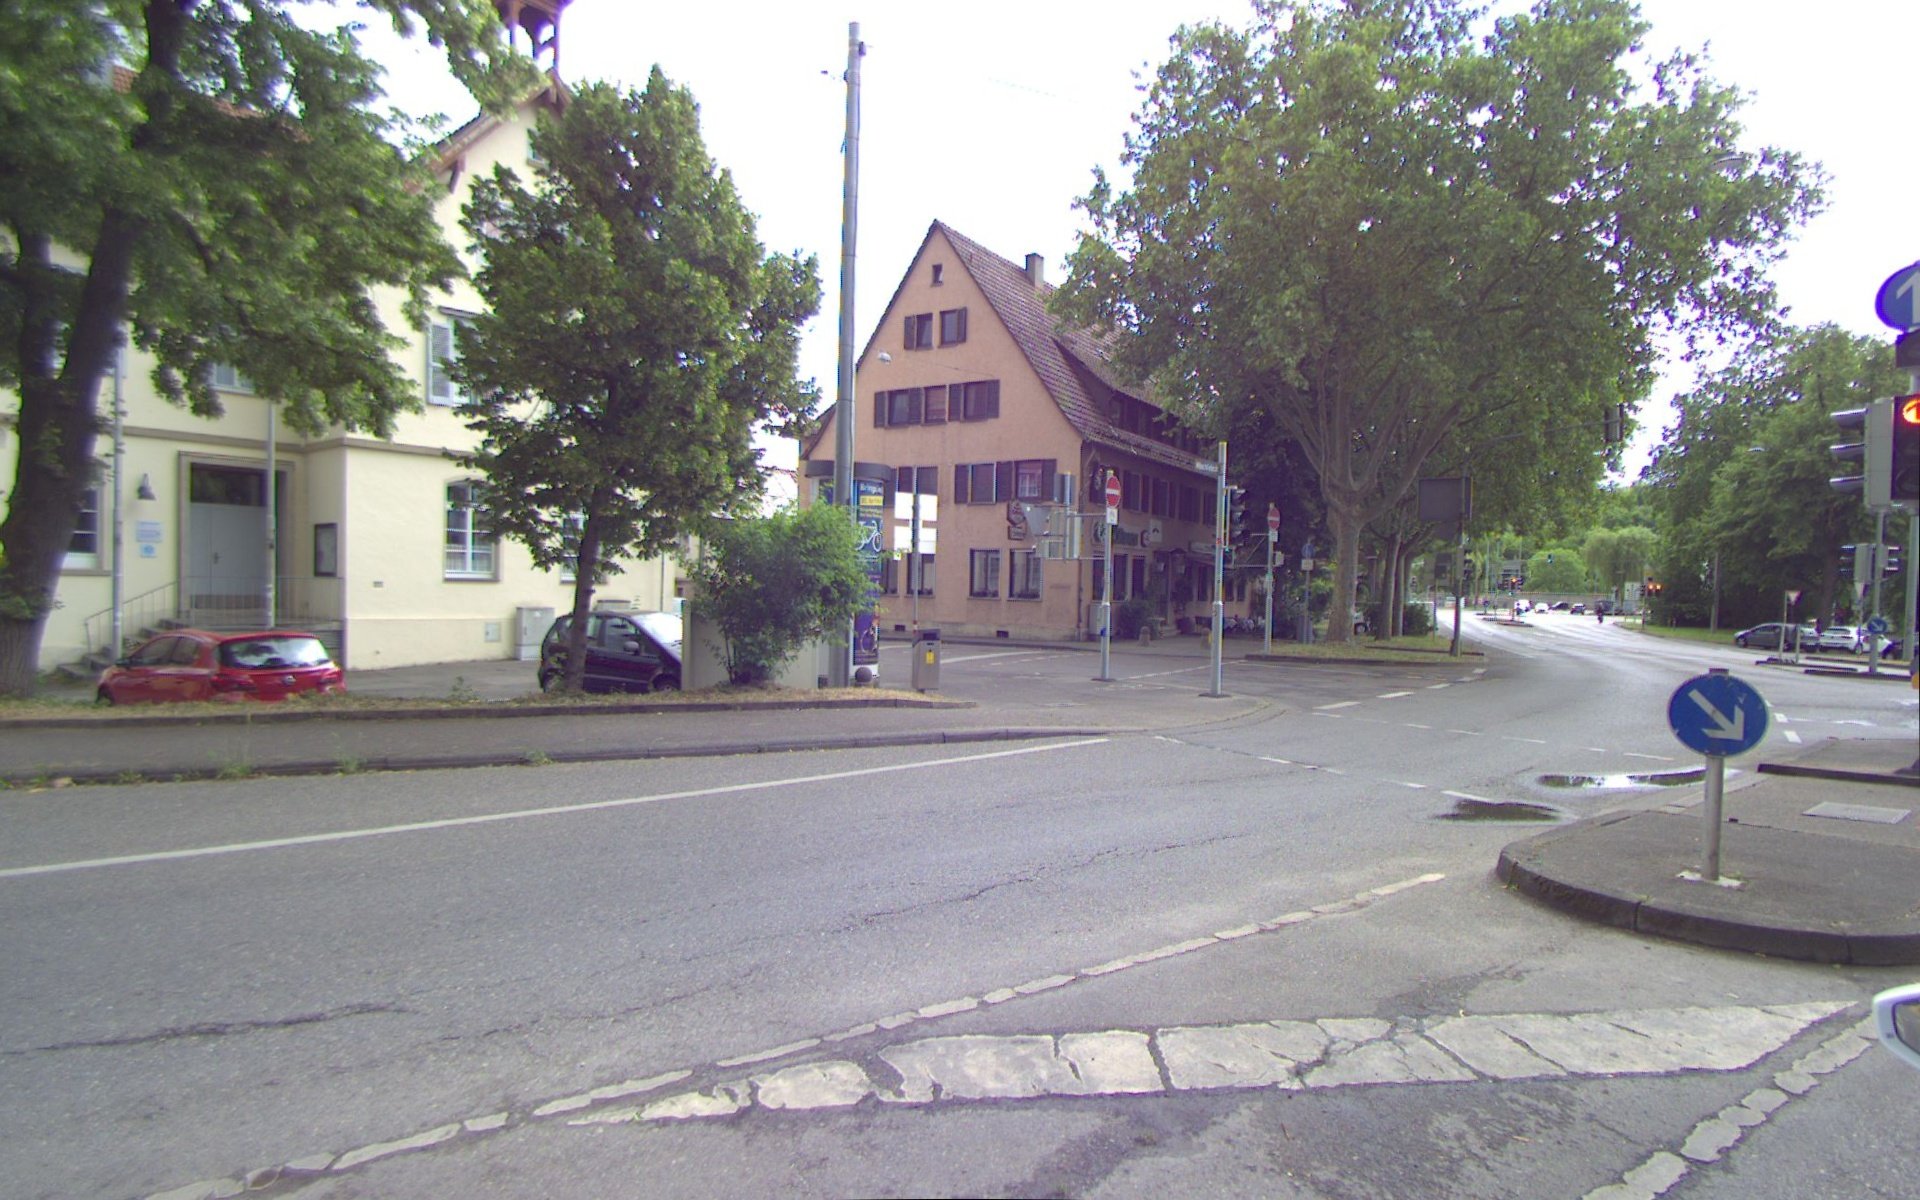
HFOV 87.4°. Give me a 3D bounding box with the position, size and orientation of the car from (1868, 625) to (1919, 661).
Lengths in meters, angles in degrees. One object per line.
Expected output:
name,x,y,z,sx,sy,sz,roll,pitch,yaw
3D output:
car,39.632,1.782,41.160,1.746,1.370,3.326,2,0,-3

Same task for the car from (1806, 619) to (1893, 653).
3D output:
car,47.594,1.937,53.756,3.696,1.662,1.859,2,0,-19

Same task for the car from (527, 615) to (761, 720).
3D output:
car,-5.244,1.040,16.637,3.507,1.459,1.644,2,0,26

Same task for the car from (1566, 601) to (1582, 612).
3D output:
car,99.470,1.042,162.763,1.963,1.617,3.994,2,0,28

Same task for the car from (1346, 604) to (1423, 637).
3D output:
car,24.114,1.158,57.032,3.924,1.706,1.998,1,0,25

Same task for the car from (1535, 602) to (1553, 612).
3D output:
car,90.434,1.148,155.649,1.469,1.436,3.028,3,0,11

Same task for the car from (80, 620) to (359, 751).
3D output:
car,-9.971,1.045,13.490,3.653,1.401,1.659,2,0,29

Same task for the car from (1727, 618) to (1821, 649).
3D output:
car,43.948,1.776,54.321,1.592,1.485,3.778,2,0,-11

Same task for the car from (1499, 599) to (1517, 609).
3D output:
car,85.516,0.649,156.823,1.553,1.506,3.337,3,0,11

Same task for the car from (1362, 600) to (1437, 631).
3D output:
car,25.837,0.910,59.115,3.924,1.706,1.998,1,0,25
